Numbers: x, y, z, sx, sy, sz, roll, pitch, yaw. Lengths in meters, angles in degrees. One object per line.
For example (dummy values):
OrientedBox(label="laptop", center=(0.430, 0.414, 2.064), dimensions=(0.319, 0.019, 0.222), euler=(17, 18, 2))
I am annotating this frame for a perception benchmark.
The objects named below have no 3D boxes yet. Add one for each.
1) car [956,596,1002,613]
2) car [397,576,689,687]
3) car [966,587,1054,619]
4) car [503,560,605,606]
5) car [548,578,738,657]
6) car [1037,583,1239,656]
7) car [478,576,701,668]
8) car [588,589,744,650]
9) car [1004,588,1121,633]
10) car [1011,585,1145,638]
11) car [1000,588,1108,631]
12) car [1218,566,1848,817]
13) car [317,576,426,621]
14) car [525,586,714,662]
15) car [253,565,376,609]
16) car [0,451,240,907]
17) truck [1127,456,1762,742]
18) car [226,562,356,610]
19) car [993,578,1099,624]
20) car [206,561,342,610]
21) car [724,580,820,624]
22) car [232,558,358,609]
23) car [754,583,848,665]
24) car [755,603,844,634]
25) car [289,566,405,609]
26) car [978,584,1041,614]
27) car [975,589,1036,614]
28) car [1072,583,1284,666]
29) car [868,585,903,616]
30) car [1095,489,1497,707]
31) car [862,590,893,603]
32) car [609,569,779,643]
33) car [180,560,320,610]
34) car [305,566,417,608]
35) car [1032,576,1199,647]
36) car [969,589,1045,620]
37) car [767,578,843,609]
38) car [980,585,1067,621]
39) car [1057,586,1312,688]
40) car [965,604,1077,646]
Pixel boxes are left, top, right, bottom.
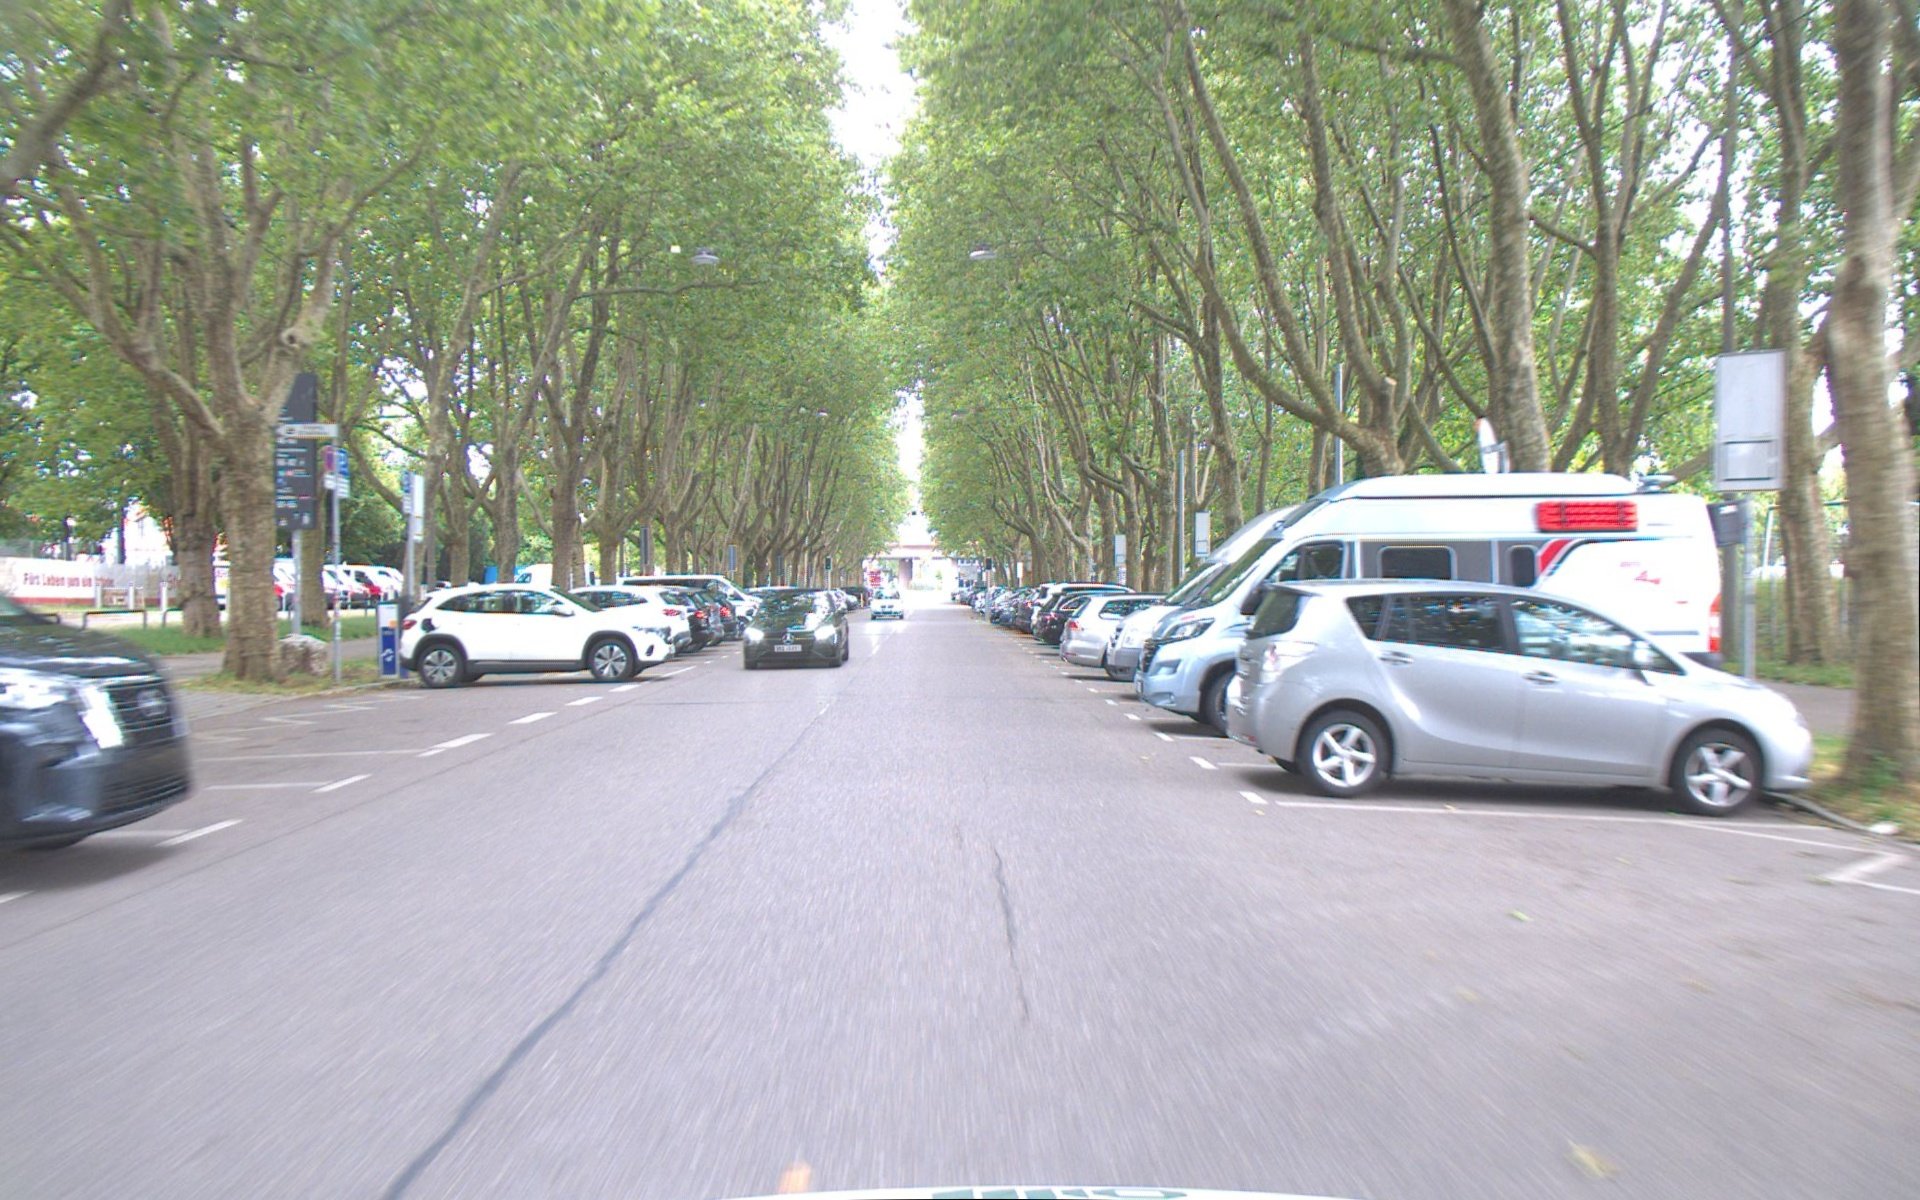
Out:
OrientedBox(label="car", center=(1.747, 0.376, 152.026), dimensions=(4.088, 1.467, 1.732), euler=(1, 0, 4))
OrientedBox(label="car", center=(-6.761, 0.485, 27.196), dimensions=(4.292, 1.624, 1.999), euler=(-2, 0, -3))
OrientedBox(label="car", center=(2.490, 0.157, 82.886), dimensions=(4.213, 1.495, 1.622), euler=(1, 0, -5))
OrientedBox(label="car", center=(-24.619, -1.016, 100.500), dimensions=(5.668, 2.642, 2.000), euler=(1, 0, -1))
OrientedBox(label="car", center=(-7.688, 0.403, 40.450), dimensions=(4.254, 1.696, 1.999), euler=(-2, 0, -3))
OrientedBox(label="car", center=(4.076, 0.436, 38.226), dimensions=(4.412, 1.552, 1.702), euler=(1, 0, -3))
OrientedBox(label="car", center=(-7.766, 0.436, 34.989), dimensions=(4.254, 1.696, 1.999), euler=(-2, 0, -3))
OrientedBox(label="car", center=(-7.899, 0.501, 44.629), dimensions=(3.908, 1.438, 1.682), euler=(-2, 0, -3))
OrientedBox(label="car", center=(3.424, 0.342, 55.565), dimensions=(3.750, 1.413, 1.693), euler=(1, 0, -3))
OrientedBox(label="car", center=(3.570, 0.331, 50.470), dimensions=(3.907, 1.512, 1.693), euler=(1, 0, -3))
OrientedBox(label="car", center=(3.415, 0.336, 60.500), dimensions=(3.750, 1.481, 1.693), euler=(1, 0, -3))
OrientedBox(label="car", center=(4.282, 0.655, 12.880), dimensions=(4.250, 1.646, 1.804), euler=(2, 0, 2))
OrientedBox(label="car", center=(-35.721, -0.094, 100.461), dimensions=(5.880, 2.571, 1.999), euler=(1, 0, -2))
OrientedBox(label="car", center=(-7.667, 0.524, 37.556), dimensions=(3.908, 1.501, 1.842), euler=(-2, 0, -3))
OrientedBox(label="car", center=(-35.255, -0.715, 90.469), dimensions=(5.880, 2.279, 1.999), euler=(1, 0, -2))
OrientedBox(label="car", center=(-6.942, 0.440, 8.736), dimensions=(5.327, 2.165, 1.939), euler=(-2, 1, -3))
OrientedBox(label="truck", center=(5.010, -0.010, 17.743), dimensions=(6.166, 2.762, 2.097), euler=(1, 0, -2))
OrientedBox(label="car", center=(-34.617, -0.733, 85.660), dimensions=(5.880, 2.358, 1.999), euler=(1, 0, -2))
OrientedBox(label="car", center=(3.361, 0.025, 65.247), dimensions=(4.030, 1.699, 1.694), euler=(1, 0, -1))
OrientedBox(label="car", center=(-34.405, -0.716, 83.056), dimensions=(5.880, 2.292, 1.999), euler=(1, 0, -2))
OrientedBox(label="car", center=(-7.608, 0.061, 67.303), dimensions=(3.751, 1.656, 1.951), euler=(-2, 0, -4))
OrientedBox(label="car", center=(-35.437, -0.870, 88.259), dimensions=(5.880, 2.571, 1.999), euler=(1, 0, -2))
OrientedBox(label="car", center=(-2.998, 0.411, 31.668), dimensions=(1.622, 1.388, 4.108), euler=(-2, 1, -5))
OrientedBox(label="car", center=(-7.982, 0.907, 82.405), dimensions=(4.314, 1.388, 1.693), euler=(-2, 0, -4))
OrientedBox(label="car", center=(-35.351, -0.732, 95.411), dimensions=(5.880, 2.370, 1.999), euler=(1, 0, -2))
OrientedBox(label="car", center=(2.912, -0.079, 98.016), dimensions=(3.574, 1.696, 1.518), euler=(1, 0, -5))
OrientedBox(label="car", center=(2.809, 0.087, 103.133), dimensions=(3.574, 1.448, 1.984), euler=(1, 0, -5))
OrientedBox(label="car", center=(4.350, 0.476, 33.417), dimensions=(3.963, 1.552, 1.814), euler=(1, 0, -3))
OrientedBox(label="car", center=(-3.707, 0.012, 81.914), dimensions=(1.655, 1.497, 3.838), euler=(-1, 0, -3))
OrientedBox(label="car", center=(4.546, -0.034, 22.960), dimensions=(5.122, 2.736, 1.957), euler=(2, 0, -1))
OrientedBox(label="car", center=(-10.317, -0.466, 206.677), dimensions=(3.734, 1.542, 1.686), euler=(1, 0, 2))
OrientedBox(label="car", center=(-7.999, 0.186, 50.075), dimensions=(4.795, 2.054, 1.919), euler=(-2, 0, -2))
OrientedBox(label="car", center=(-34.482, -0.738, 80.465), dimensions=(5.880, 2.292, 1.999), euler=(1, 0, -2))
OrientedBox(label="car", center=(-35.390, -0.743, 97.834), dimensions=(5.880, 2.345, 1.999), euler=(1, 0, -2))
OrientedBox(label="car", center=(4.204, 0.302, 45.179), dimensions=(4.297, 1.786, 1.800), euler=(1, 0, -3))
OrientedBox(label="car", center=(2.619, 0.240, 93.148), dimensions=(4.085, 1.624, 1.853), euler=(1, 0, -5))
OrientedBox(label="car", center=(-7.927, -0.326, 84.784), dimensions=(3.751, 1.454, 1.693), euler=(-2, 0, -4))
OrientedBox(label="car", center=(2.792, 0.112, 72.950), dimensions=(3.699, 1.495, 1.667), euler=(1, 0, -2))
OrientedBox(label="car", center=(3.723, 0.612, 27.960), dimensions=(4.035, 1.454, 1.703), euler=(3, 0, 1))
OrientedBox(label="car", center=(2.312, 0.933, 63.121), dimensions=(4.127, 1.476, 1.610), euler=(1, 0, -3))
